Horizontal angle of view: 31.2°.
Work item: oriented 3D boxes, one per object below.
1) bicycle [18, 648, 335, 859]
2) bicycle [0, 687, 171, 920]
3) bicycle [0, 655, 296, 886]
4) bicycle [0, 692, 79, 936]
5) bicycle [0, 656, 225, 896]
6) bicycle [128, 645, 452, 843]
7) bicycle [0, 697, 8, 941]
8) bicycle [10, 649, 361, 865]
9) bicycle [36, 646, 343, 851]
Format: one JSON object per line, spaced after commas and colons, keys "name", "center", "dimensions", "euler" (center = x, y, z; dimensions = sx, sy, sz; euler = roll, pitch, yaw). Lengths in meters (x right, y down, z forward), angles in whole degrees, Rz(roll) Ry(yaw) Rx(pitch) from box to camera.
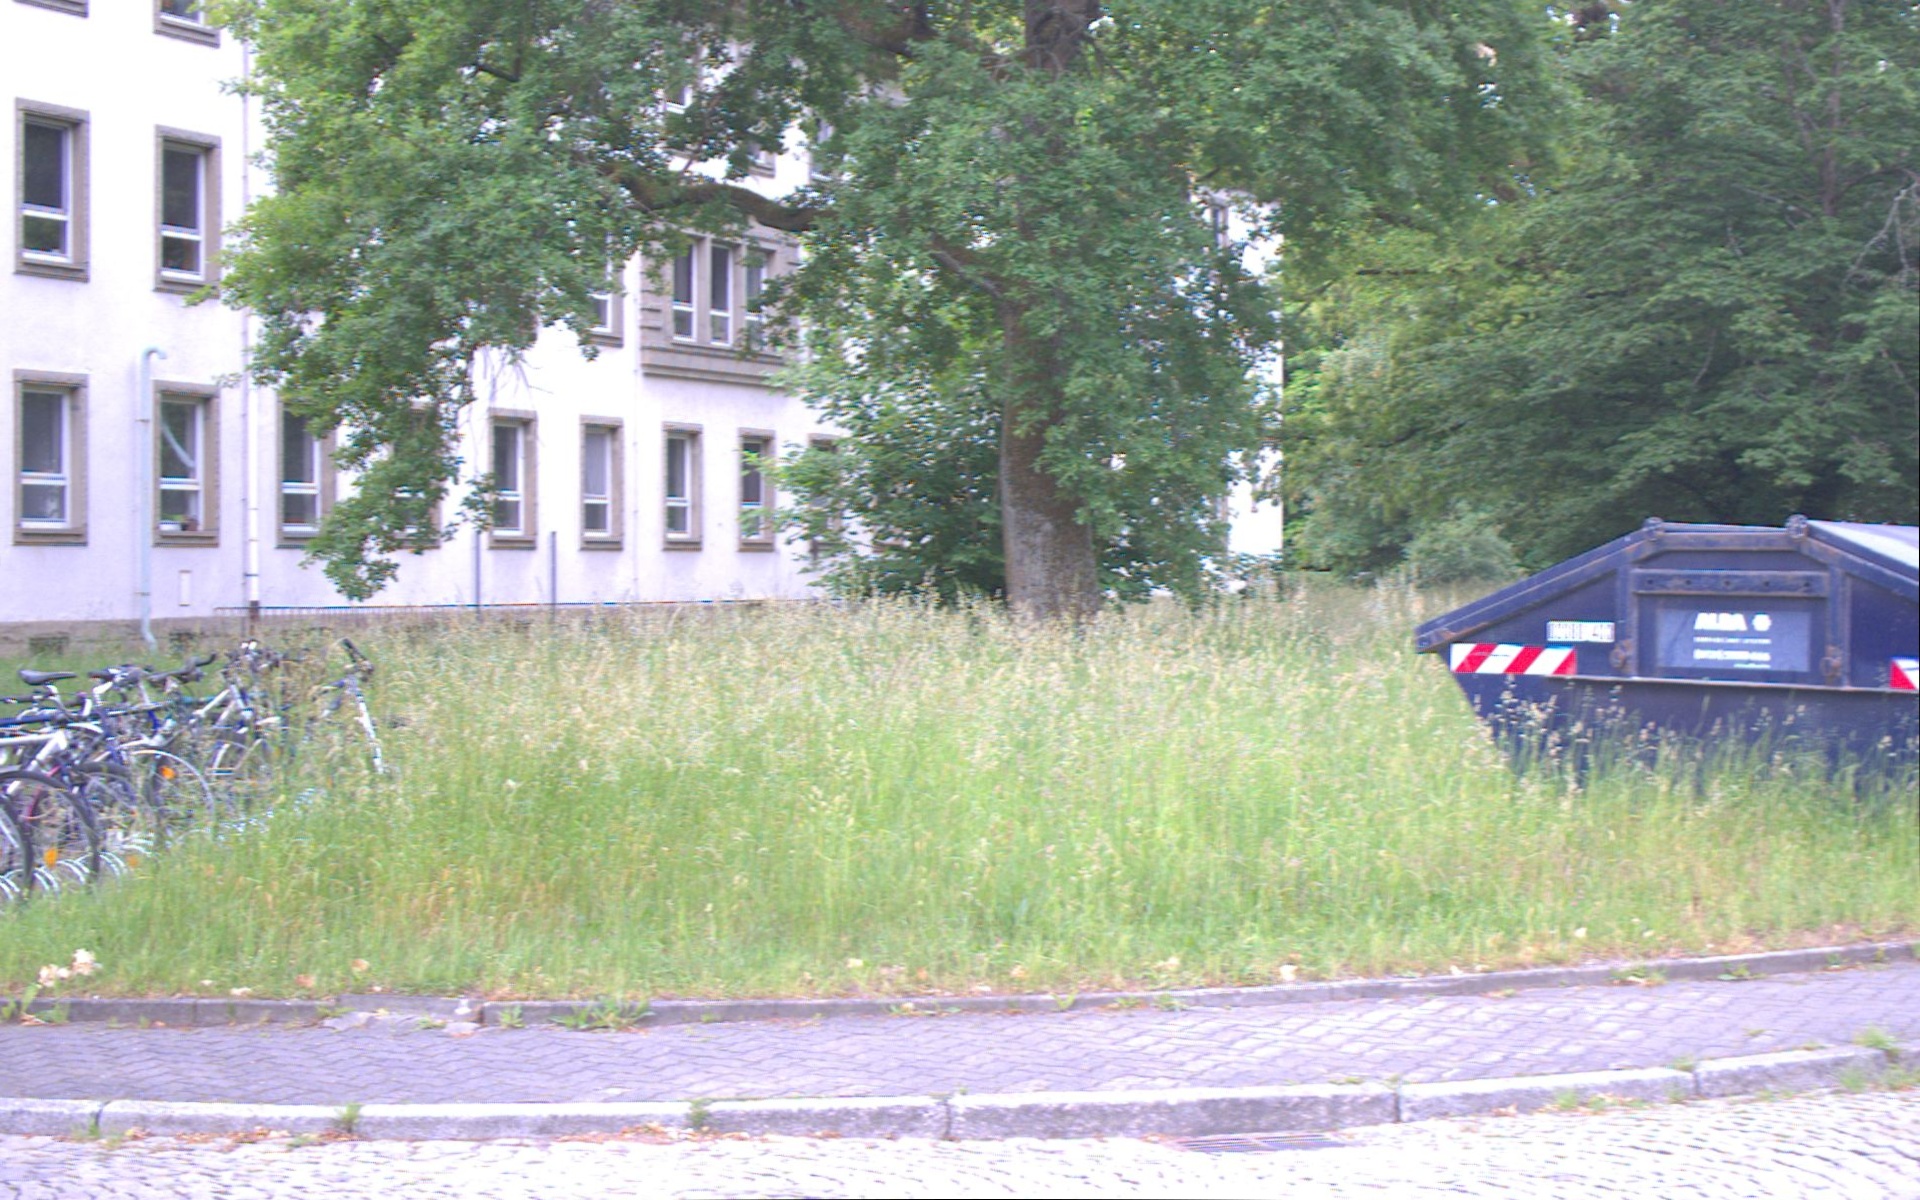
{"name": "bicycle", "center": [-4.256, 0.824, 18.679], "dimensions": [1.647, 1.108, 0.442], "euler": [0, 0, 13]}
{"name": "bicycle", "center": [-4.445, 0.920, 15.467], "dimensions": [1.662, 1.004, 0.477], "euler": [-1, 0, 7]}
{"name": "bicycle", "center": [-4.191, 0.828, 16.902], "dimensions": [1.759, 1.108, 0.478], "euler": [0, 0, 1]}
{"name": "bicycle", "center": [-4.671, 0.922, 14.724], "dimensions": [1.662, 1.004, 0.477], "euler": [-1, 0, 7]}
{"name": "bicycle", "center": [-4.440, 0.828, 16.427], "dimensions": [1.760, 1.108, 0.477], "euler": [0, 0, 7]}
{"name": "bicycle", "center": [-3.836, 0.815, 19.717], "dimensions": [1.760, 1.108, 0.477], "euler": [0, 0, 7]}
{"name": "bicycle", "center": [-4.810, 0.924, 14.118], "dimensions": [1.662, 1.004, 0.477], "euler": [-1, 0, 7]}
{"name": "bicycle", "center": [-4.096, 0.821, 18.211], "dimensions": [1.760, 1.108, 0.477], "euler": [0, 0, 7]}
{"name": "bicycle", "center": [-4.309, 0.820, 19.236], "dimensions": [1.647, 1.108, 0.442], "euler": [0, 0, 13]}
